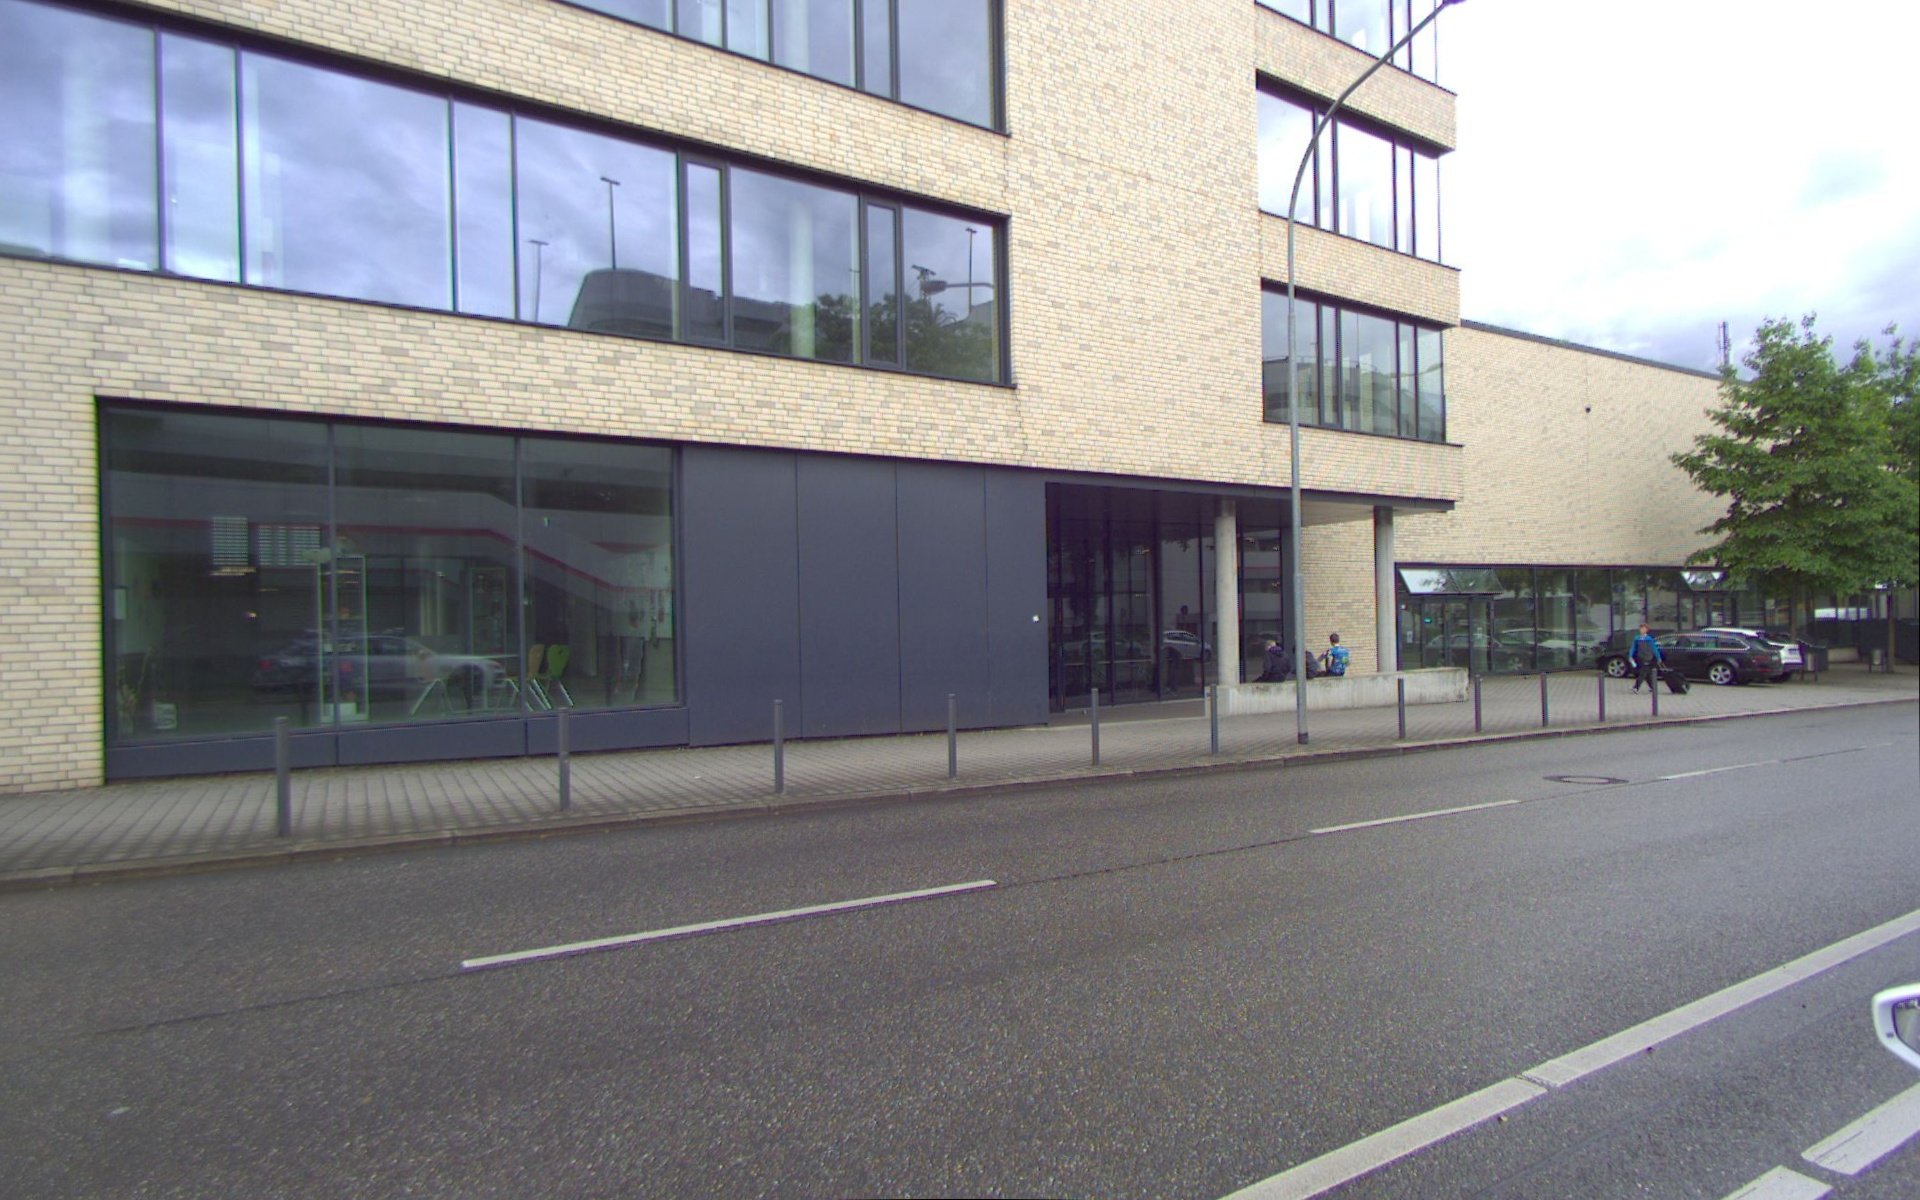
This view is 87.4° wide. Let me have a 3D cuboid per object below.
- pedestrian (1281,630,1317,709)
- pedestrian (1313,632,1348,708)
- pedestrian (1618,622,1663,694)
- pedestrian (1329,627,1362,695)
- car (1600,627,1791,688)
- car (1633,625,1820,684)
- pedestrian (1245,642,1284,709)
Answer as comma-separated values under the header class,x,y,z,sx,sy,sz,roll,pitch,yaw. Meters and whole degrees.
class,x,y,z,sx,sy,sz,roll,pitch,yaw
pedestrian,6.594,1.340,19.515,0.459,1.495,0.446,2,0,-35
pedestrian,7.485,1.398,20.272,0.459,1.495,0.446,2,0,-35
pedestrian,16.970,1.434,25.053,0.696,1.737,0.632,2,0,-27
pedestrian,8.661,1.369,22.571,0.523,1.495,0.438,2,0,-35
car,21.654,1.640,29.696,1.981,1.515,4.147,2,0,-36
car,23.531,1.635,31.005,1.975,1.568,4.159,2,0,-28
pedestrian,5.762,1.423,19.019,0.416,1.231,0.546,2,0,-27
